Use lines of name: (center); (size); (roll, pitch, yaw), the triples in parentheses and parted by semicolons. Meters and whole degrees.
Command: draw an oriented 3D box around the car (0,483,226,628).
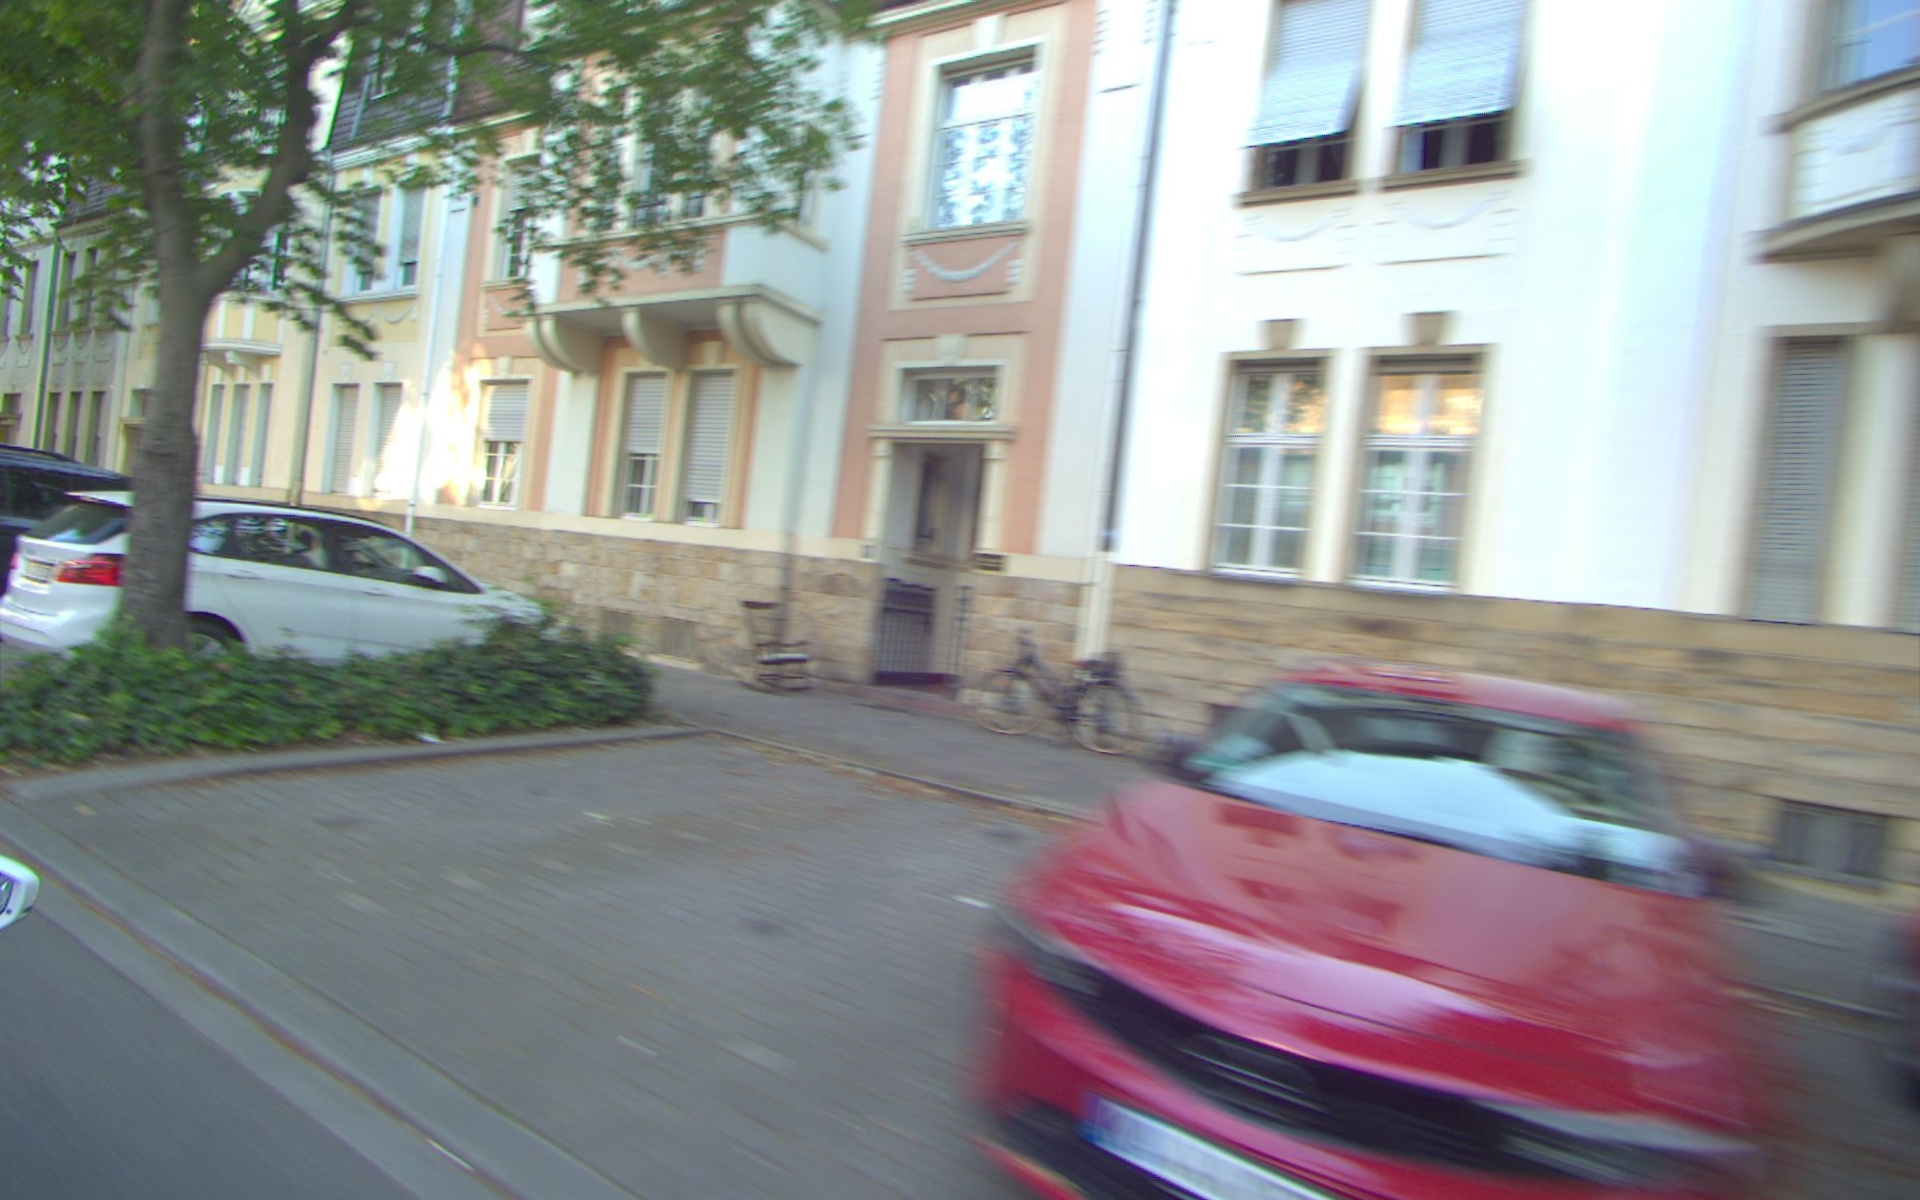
car: (-11.895, -0.666, 12.262); (1.845, 1.559, 4.297); (7, -1, 29)

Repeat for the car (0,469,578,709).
car: (-5.819, -0.033, 8.997); (1.846, 1.591, 4.113); (7, 1, 32)

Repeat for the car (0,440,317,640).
car: (-9.886, -0.662, 11.098); (1.873, 1.920, 4.225); (7, 1, 30)

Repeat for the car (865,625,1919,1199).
car: (1.816, 0.976, 3.757); (1.847, 1.437, 4.411); (7, 1, 34)

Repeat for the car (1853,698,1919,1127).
car: (3.784, 1.171, 2.369); (1.822, 1.494, 4.190); (7, 1, 34)

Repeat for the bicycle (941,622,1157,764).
bicycle: (0.834, 0.866, 9.842); (2.011, 1.070, 0.474); (7, 2, 31)

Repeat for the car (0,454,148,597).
car: (-15.768, -1.367, 15.095); (2.037, 2.013, 5.063); (7, -1, 29)
